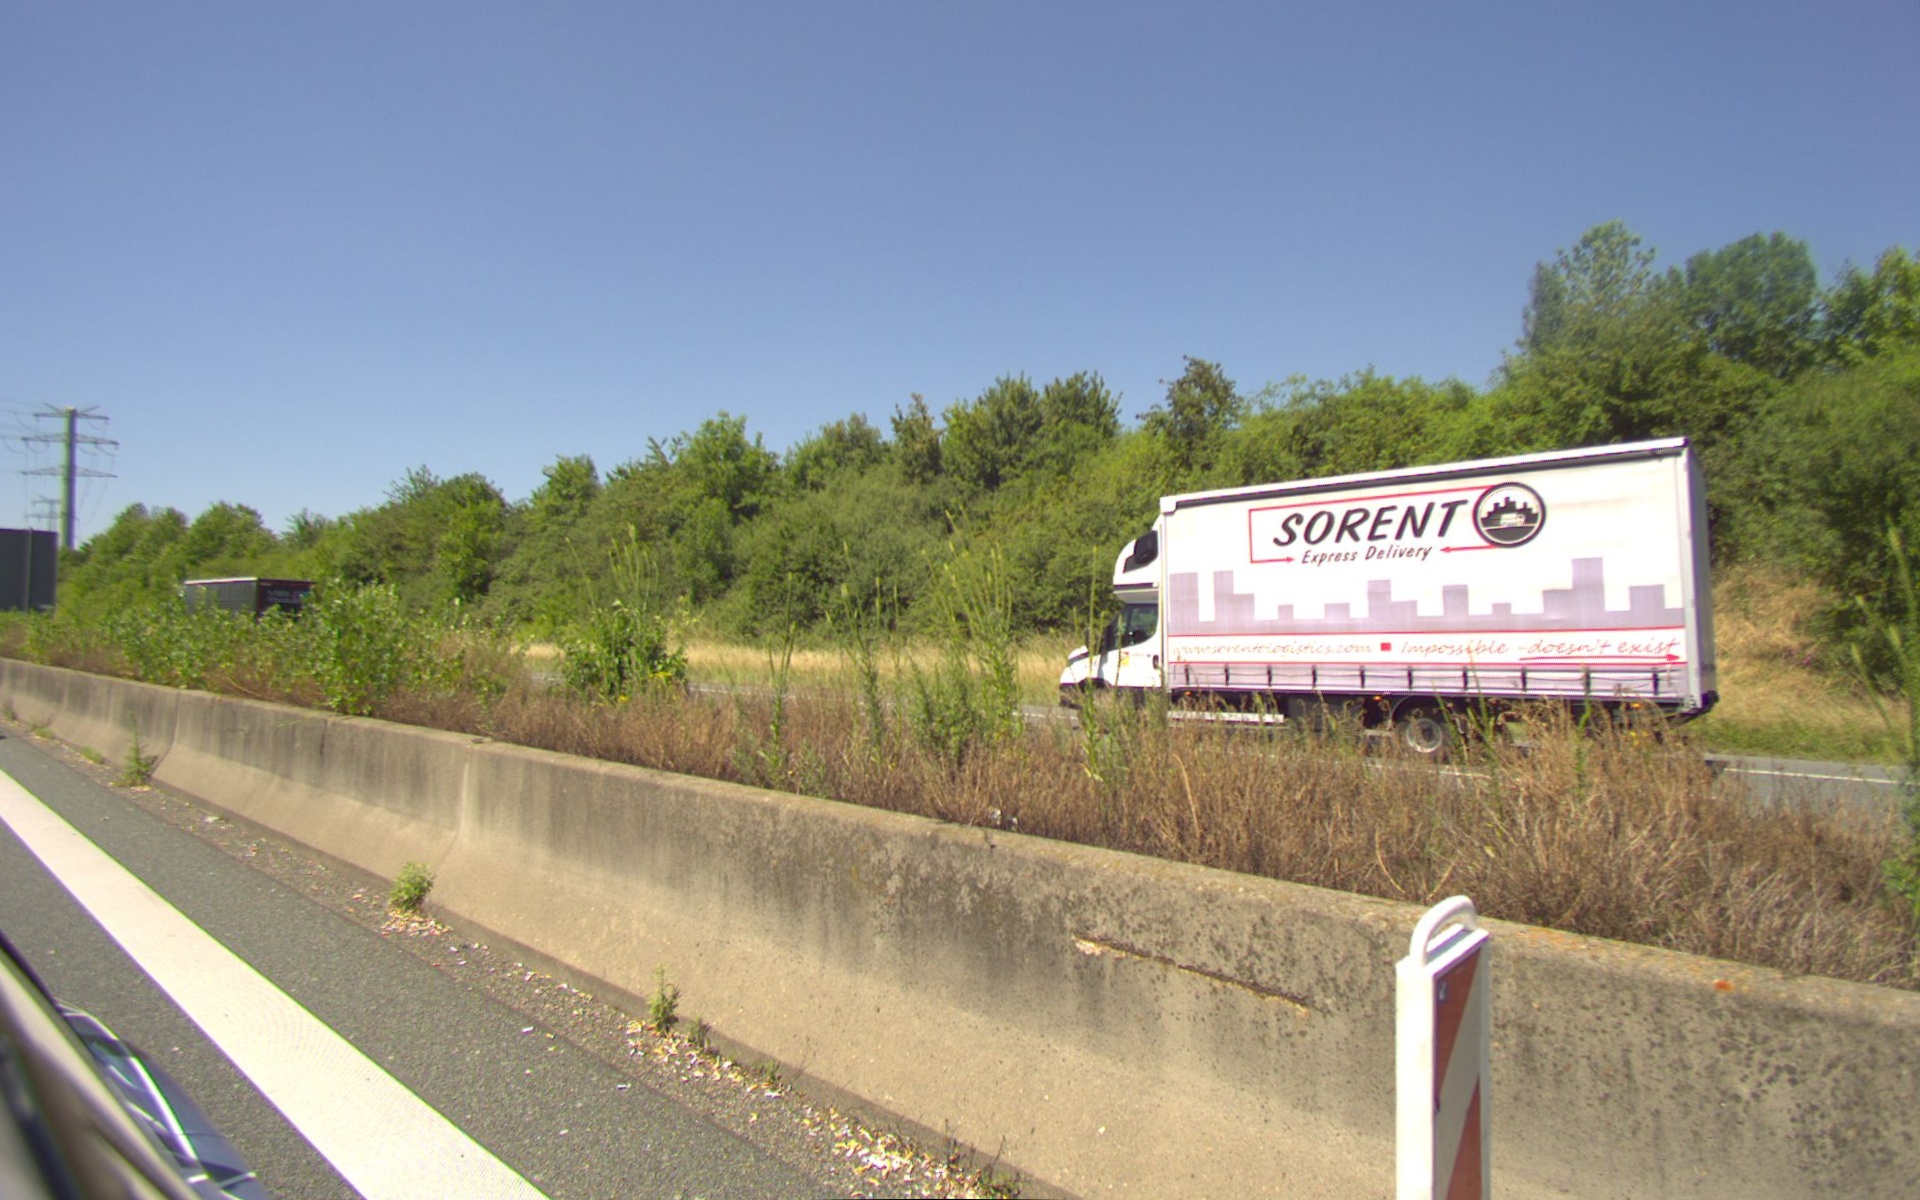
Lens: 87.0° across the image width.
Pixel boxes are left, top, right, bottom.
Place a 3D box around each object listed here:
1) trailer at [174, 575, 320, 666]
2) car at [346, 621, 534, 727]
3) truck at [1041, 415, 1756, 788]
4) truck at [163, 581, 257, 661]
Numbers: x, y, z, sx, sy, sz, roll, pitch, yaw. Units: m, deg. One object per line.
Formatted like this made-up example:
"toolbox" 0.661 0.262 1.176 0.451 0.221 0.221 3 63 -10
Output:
"trailer" -37.552 1.127 52.921 14.189 4.199 2.724 -1 -5 41
"car" -9.206 1.243 17.807 3.868 1.666 1.536 -1 -5 41
"truck" 5.665 0.153 14.609 9.024 3.918 2.734 -1 -5 41
"truck" -42.430 1.212 57.170 6.407 4.199 2.722 -1 -5 41
